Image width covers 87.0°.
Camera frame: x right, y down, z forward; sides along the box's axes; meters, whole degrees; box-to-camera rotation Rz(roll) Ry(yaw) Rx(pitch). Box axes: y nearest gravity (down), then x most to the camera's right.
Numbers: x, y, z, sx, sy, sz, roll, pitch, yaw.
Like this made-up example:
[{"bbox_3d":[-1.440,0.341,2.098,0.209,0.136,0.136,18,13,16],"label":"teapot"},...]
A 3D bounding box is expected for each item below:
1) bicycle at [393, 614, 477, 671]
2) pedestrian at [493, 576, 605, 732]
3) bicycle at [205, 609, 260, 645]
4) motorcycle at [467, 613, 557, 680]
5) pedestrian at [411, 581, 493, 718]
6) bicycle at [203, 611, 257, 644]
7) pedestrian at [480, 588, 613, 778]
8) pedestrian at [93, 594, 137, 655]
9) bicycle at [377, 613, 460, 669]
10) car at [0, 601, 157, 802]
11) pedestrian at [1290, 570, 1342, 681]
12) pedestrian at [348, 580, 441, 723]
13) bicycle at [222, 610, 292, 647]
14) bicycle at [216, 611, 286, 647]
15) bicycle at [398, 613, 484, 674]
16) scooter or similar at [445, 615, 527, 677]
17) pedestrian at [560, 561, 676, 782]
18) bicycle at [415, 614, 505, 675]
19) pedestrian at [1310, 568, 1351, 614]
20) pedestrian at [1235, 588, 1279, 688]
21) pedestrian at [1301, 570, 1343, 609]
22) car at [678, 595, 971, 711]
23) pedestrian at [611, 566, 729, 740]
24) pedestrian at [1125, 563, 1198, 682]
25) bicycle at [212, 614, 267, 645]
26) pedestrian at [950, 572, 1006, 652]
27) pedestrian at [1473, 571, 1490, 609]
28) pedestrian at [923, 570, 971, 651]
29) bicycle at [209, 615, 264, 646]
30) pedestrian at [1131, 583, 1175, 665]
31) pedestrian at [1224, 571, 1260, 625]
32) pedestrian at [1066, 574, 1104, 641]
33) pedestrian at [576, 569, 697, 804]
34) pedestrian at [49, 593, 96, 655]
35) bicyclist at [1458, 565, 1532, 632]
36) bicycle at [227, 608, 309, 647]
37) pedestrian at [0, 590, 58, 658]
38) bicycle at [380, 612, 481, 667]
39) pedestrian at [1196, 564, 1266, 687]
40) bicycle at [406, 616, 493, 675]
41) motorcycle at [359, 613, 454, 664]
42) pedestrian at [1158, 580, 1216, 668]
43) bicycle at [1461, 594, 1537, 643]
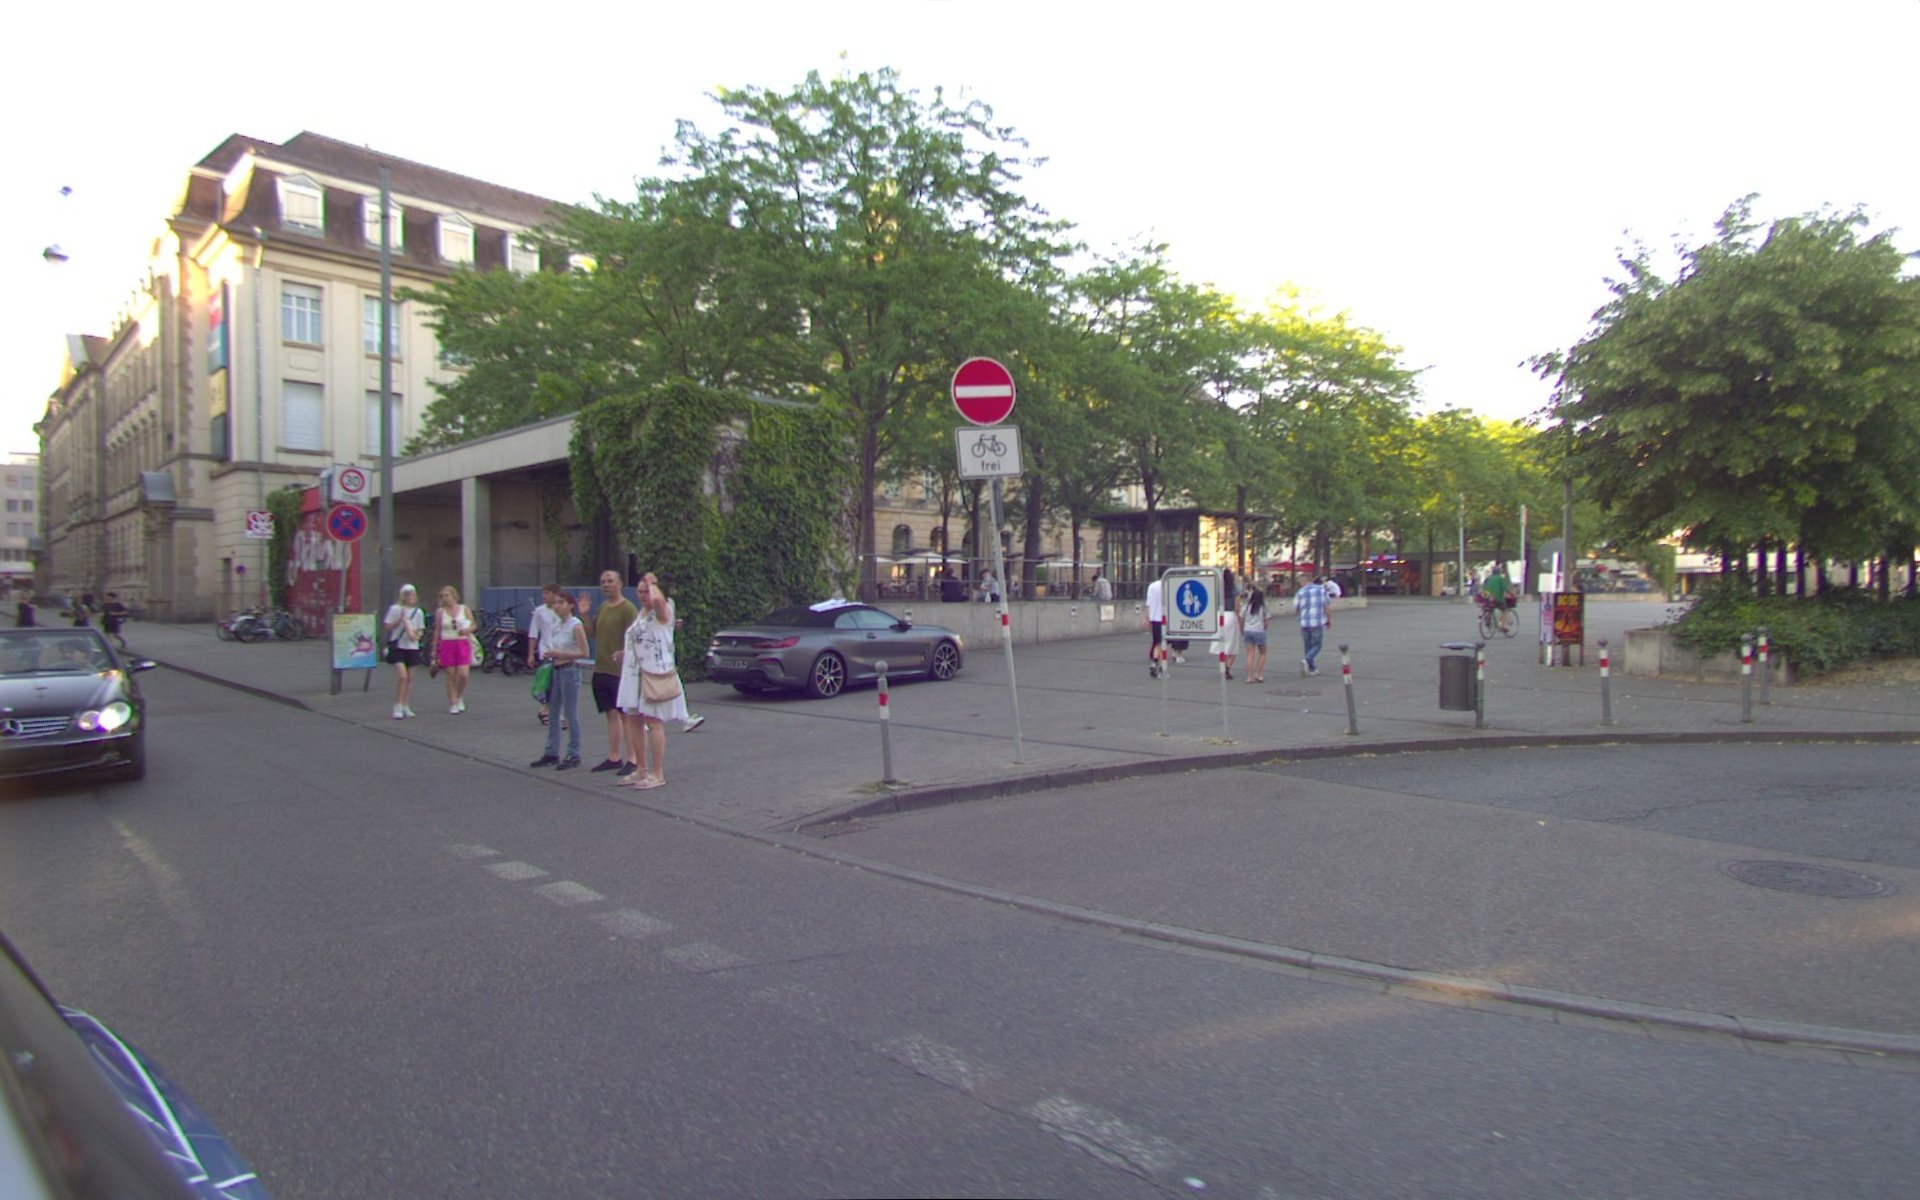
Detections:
[{"bbox_3d":[-10.872,0.864,20.989,0.411,1.096,1.477,0,1,40],"label":"bicycle"},{"bbox_3d":[-5.051,0.620,12.436,0.970,1.807,0.891,-2,1,-44],"label":"pedestrian"},{"bbox_3d":[-25.090,0.922,34.922,0.312,1.149,1.483,-1,1,35],"label":"bicycle"},{"bbox_3d":[-8.358,0.844,18.965,0.531,1.135,1.821,-1,1,13],"label":"motorcycle"},{"bbox_3d":[-7.064,0.658,14.072,0.800,1.807,0.737,-2,1,-44],"label":"pedestrian"},{"bbox_3d":[-25.349,0.947,35.150,0.312,1.084,1.483,-1,1,35],"label":"bicycle"},{"bbox_3d":[-3.869,0.748,9.513,0.874,1.681,0.711,1,-1,13],"label":"pedestrian"},{"bbox_3d":[-24.741,0.698,29.628,0.920,1.739,0.823,0,1,40],"label":"pedestrian"},{"bbox_3d":[-11.517,0.853,21.533,1.474,1.096,0.437,-2,1,-39],"label":"bicycle"},{"bbox_3d":[-8.729,0.759,9.226,1.783,1.418,4.621,1,0,-44],"label":"car"},{"bbox_3d":[5.774,0.405,16.457,0.709,1.759,0.684,-1,1,15],"label":"pedestrian"},{"bbox_3d":[-7.529,0.655,13.474,0.839,1.807,0.870,-2,1,-44],"label":"pedestrian"},{"bbox_3d":[-22.852,0.918,32.913,1.817,1.091,0.355,-2,1,-40],"label":"bicycle"},{"bbox_3d":[-23.225,0.933,33.178,1.817,1.091,0.355,-2,1,-40],"label":"bicycle"},{"bbox_3d":[-10.491,0.859,20.483,0.411,1.119,1.477,0,1,40],"label":"bicycle"},{"bbox_3d":[-9.056,0.858,19.393,0.409,1.096,1.484,-1,1,26],"label":"scooter or similar"},{"bbox_3d":[-3.128,0.601,9.233,0.703,1.890,0.854,-3,2,-38],"label":"pedestrian"},{"bbox_3d":[-9.830,0.852,19.925,0.547,1.096,1.477,0,1,40],"label":"bicycle"},{"bbox_3d":[13.751,-0.336,37.569,1.267,1.660,0.698,0,0,41],"label":"pedestrian"},{"bbox_3d":[4.570,0.572,15.583,0.598,1.497,0.713,-1,1,15],"label":"pedestrian"},{"bbox_3d":[13.245,-0.370,37.033,1.266,1.390,0.728,0,0,40],"label":"pedestrian"},{"bbox_3d":[-1.988,0.714,16.013,2.104,1.441,4.394,0,2,38],"label":"car"},{"bbox_3d":[-3.366,0.568,11.740,0.970,1.897,0.891,-2,1,-44],"label":"pedestrian"},{"bbox_3d":[3.282,0.348,16.448,0.979,1.867,0.883,-1,1,24],"label":"pedestrian"},{"bbox_3d":[-24.582,0.994,34.541,0.312,0.963,1.483,-1,1,35],"label":"bicycle"},{"bbox_3d":[0.417,0.268,23.683,1.123,1.833,0.693,0,1,43],"label":"pedestrian"},{"bbox_3d":[26.964,-0.508,52.348,0.728,1.962,0.796,0,1,31],"label":"pedestrian"},{"bbox_3d":[-0.286,0.230,22.979,0.751,1.795,0.798,-1,1,-44],"label":"pedestrian"},{"bbox_3d":[-24.819,1.037,34.742,0.312,0.986,1.483,-1,1,35],"label":"bicycle"},{"bbox_3d":[3.724,0.451,19.516,0.676,1.554,0.587,-1,1,26],"label":"pedestrian"},{"bbox_3d":[9.256,-0.078,33.183,0.921,1.739,0.693,0,1,43],"label":"pedestrian"},{"bbox_3d":[3.347,0.190,27.037,0.803,1.739,0.614,0,1,43],"label":"pedestrian"},{"bbox_3d":[-2.644,0.668,8.350,0.868,1.816,0.716,-2,1,-15],"label":"pedestrian"},{"bbox_3d":[-25.719,0.672,29.326,0.702,1.739,0.909,0,1,39],"label":"pedestrian"},{"bbox_3d":[12.686,-0.041,24.018,0.741,1.521,1.383,-1,0,-42],"label":"bicyclist"},{"bbox_3d":[-22.417,0.867,32.811,2.148,1.164,0.446,-2,1,-40],"label":"bicycle"},{"bbox_3d":[-26.323,0.669,28.503,0.938,1.840,1.002,-1,1,19],"label":"pedestrian"},{"bbox_3d":[-11.592,0.847,22.200,1.846,1.095,0.551,-2,2,-45],"label":"bicycle"},{"bbox_3d":[4.315,0.379,16.100,0.703,1.889,0.783,-2,1,-38],"label":"pedestrian"},{"bbox_3d":[-10.183,0.885,20.229,0.442,1.077,1.477,0,1,40],"label":"bicycle"},{"bbox_3d":[-12.671,0.862,23.212,1.797,1.077,0.535,-2,1,-17],"label":"motorcycle"},{"bbox_3d":[4.268,0.430,19.001,0.798,1.594,0.721,-1,1,39],"label":"pedestrian"},{"bbox_3d":[12.900,0.410,24.177,2.294,1.110,0.952,-1,1,-44],"label":"bicycle"}]
